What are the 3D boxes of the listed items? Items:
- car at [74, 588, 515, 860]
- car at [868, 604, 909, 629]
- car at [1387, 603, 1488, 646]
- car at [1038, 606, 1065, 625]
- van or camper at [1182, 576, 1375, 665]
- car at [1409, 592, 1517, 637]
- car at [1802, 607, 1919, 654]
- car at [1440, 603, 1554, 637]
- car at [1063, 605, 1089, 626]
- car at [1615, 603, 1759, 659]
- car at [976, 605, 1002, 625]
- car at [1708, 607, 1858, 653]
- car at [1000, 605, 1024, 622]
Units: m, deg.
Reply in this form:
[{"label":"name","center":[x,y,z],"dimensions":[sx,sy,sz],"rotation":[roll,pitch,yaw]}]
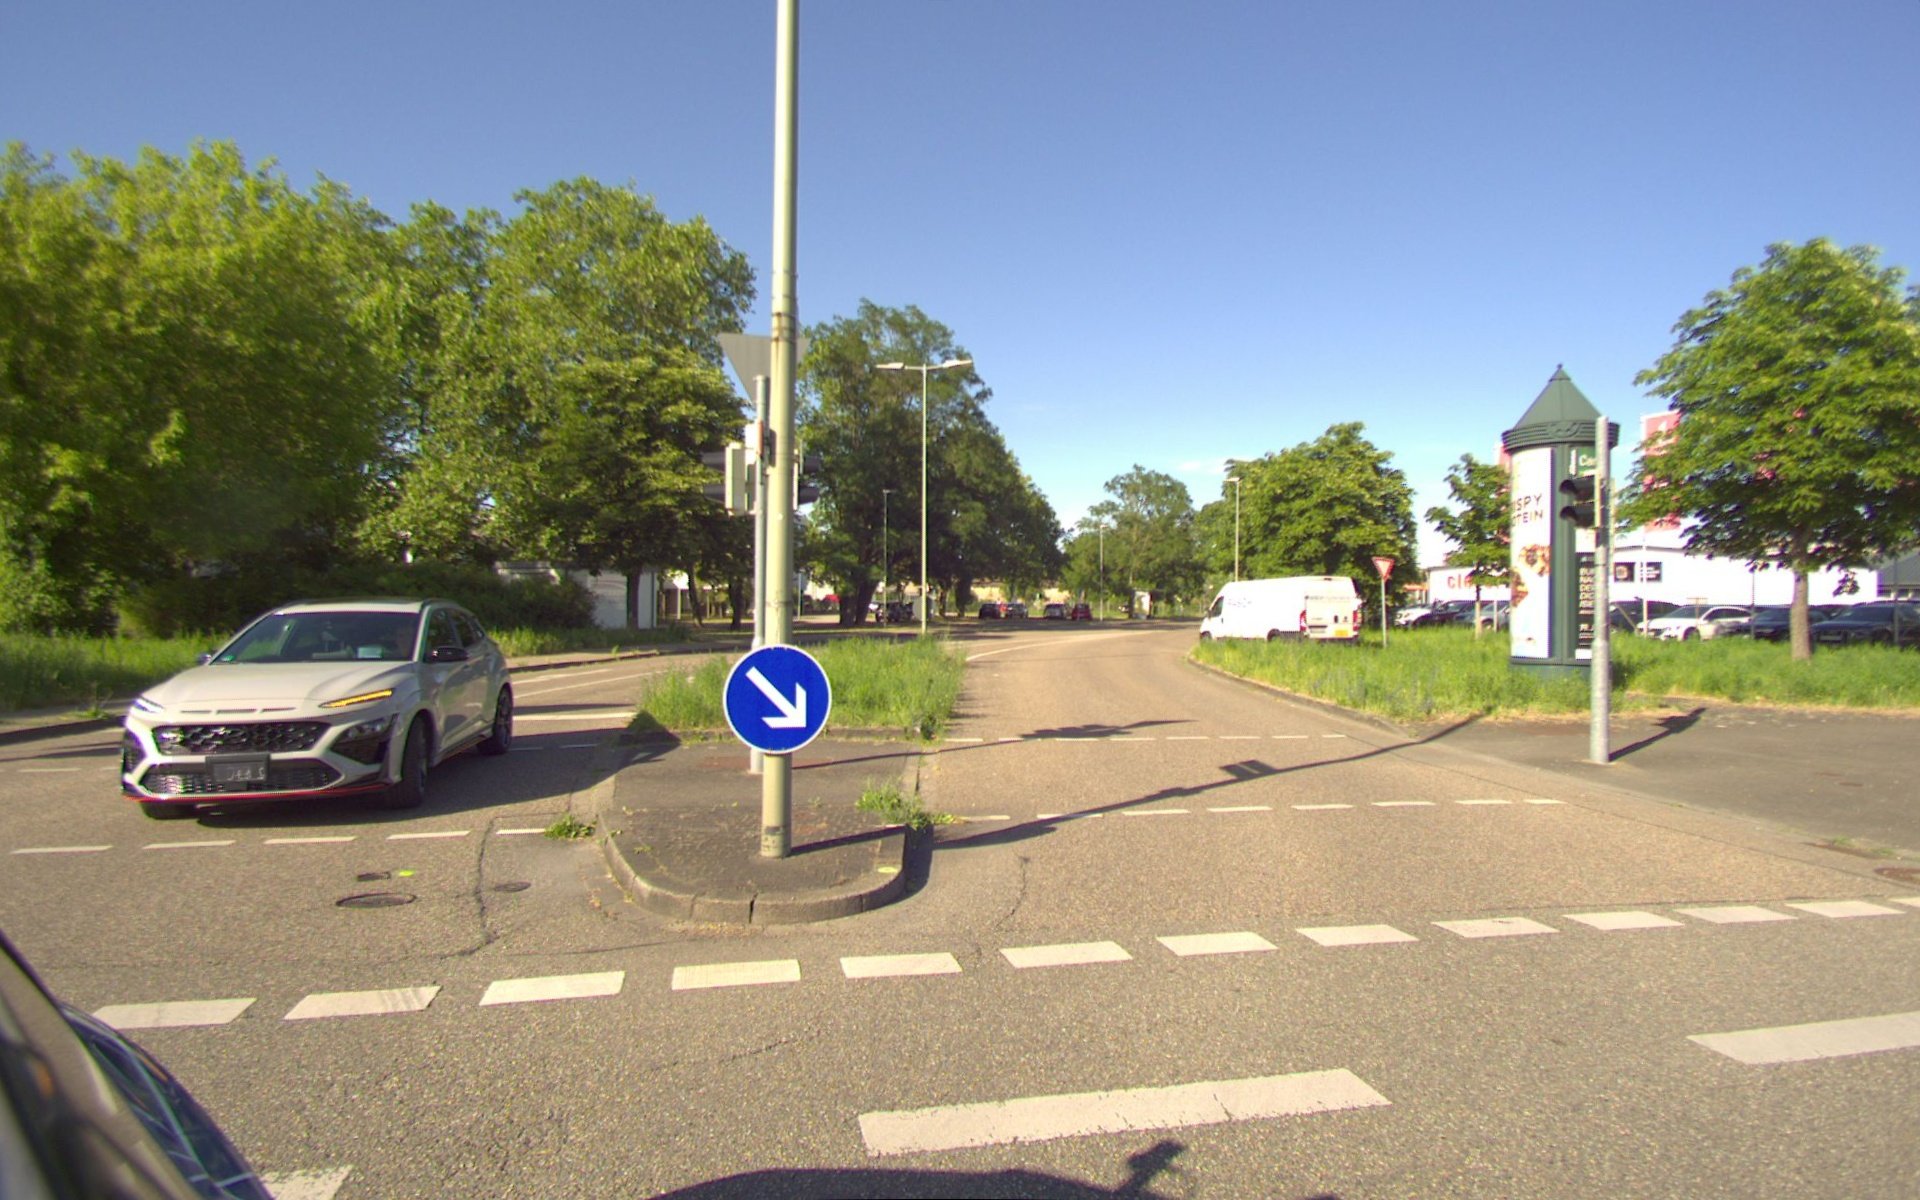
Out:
[{"label":"car","center":[-5.061,0.750,8.409],"dimensions":[1.688,1.658,4.065],"rotation":[1,1,-12]},{"label":"car","center":[-5.350,1.238,76.407],"dimensions":[1.990,1.809,3.983],"rotation":[-1,0,13]},{"label":"car","center":[23.322,1.197,49.518],"dimensions":[3.944,2.029,2.000],"rotation":[0,0,0]},{"label":"car","center":[7.998,1.324,88.178],"dimensions":[1.978,1.461,3.988],"rotation":[2,0,9]},{"label":"van or camper","center":[10.148,0.699,33.106],"dimensions":[2.561,2.603,6.632],"rotation":[1,-2,-19]},{"label":"car","center":[23.210,0.689,46.829],"dimensions":[3.943,2.029,2.000],"rotation":[0,-1,-1]},{"label":"car","center":[31.348,0.995,34.292],"dimensions":[1.802,1.517,4.011],"rotation":[0,-1,-14]},{"label":"car","center":[23.210,0.860,43.811],"dimensions":[3.941,1.419,1.840],"rotation":[0,0,-2]},{"label":"car","center":[10.015,1.287,87.342],"dimensions":[1.978,1.678,3.988],"rotation":[2,0,9]},{"label":"car","center":[25.622,1.090,35.730],"dimensions":[3.933,1.901,2.005],"rotation":[0,-1,-13]},{"label":"car","center":[2.533,1.271,88.296],"dimensions":[1.718,1.631,3.988],"rotation":[2,0,9]},{"label":"car","center":[26.949,0.970,33.194],"dimensions":[3.933,1.473,1.749],"rotation":[0,-1,-13]},{"label":"car","center":[4.875,1.232,94.098],"dimensions":[1.852,1.451,3.473],"rotation":[2,0,9]}]
